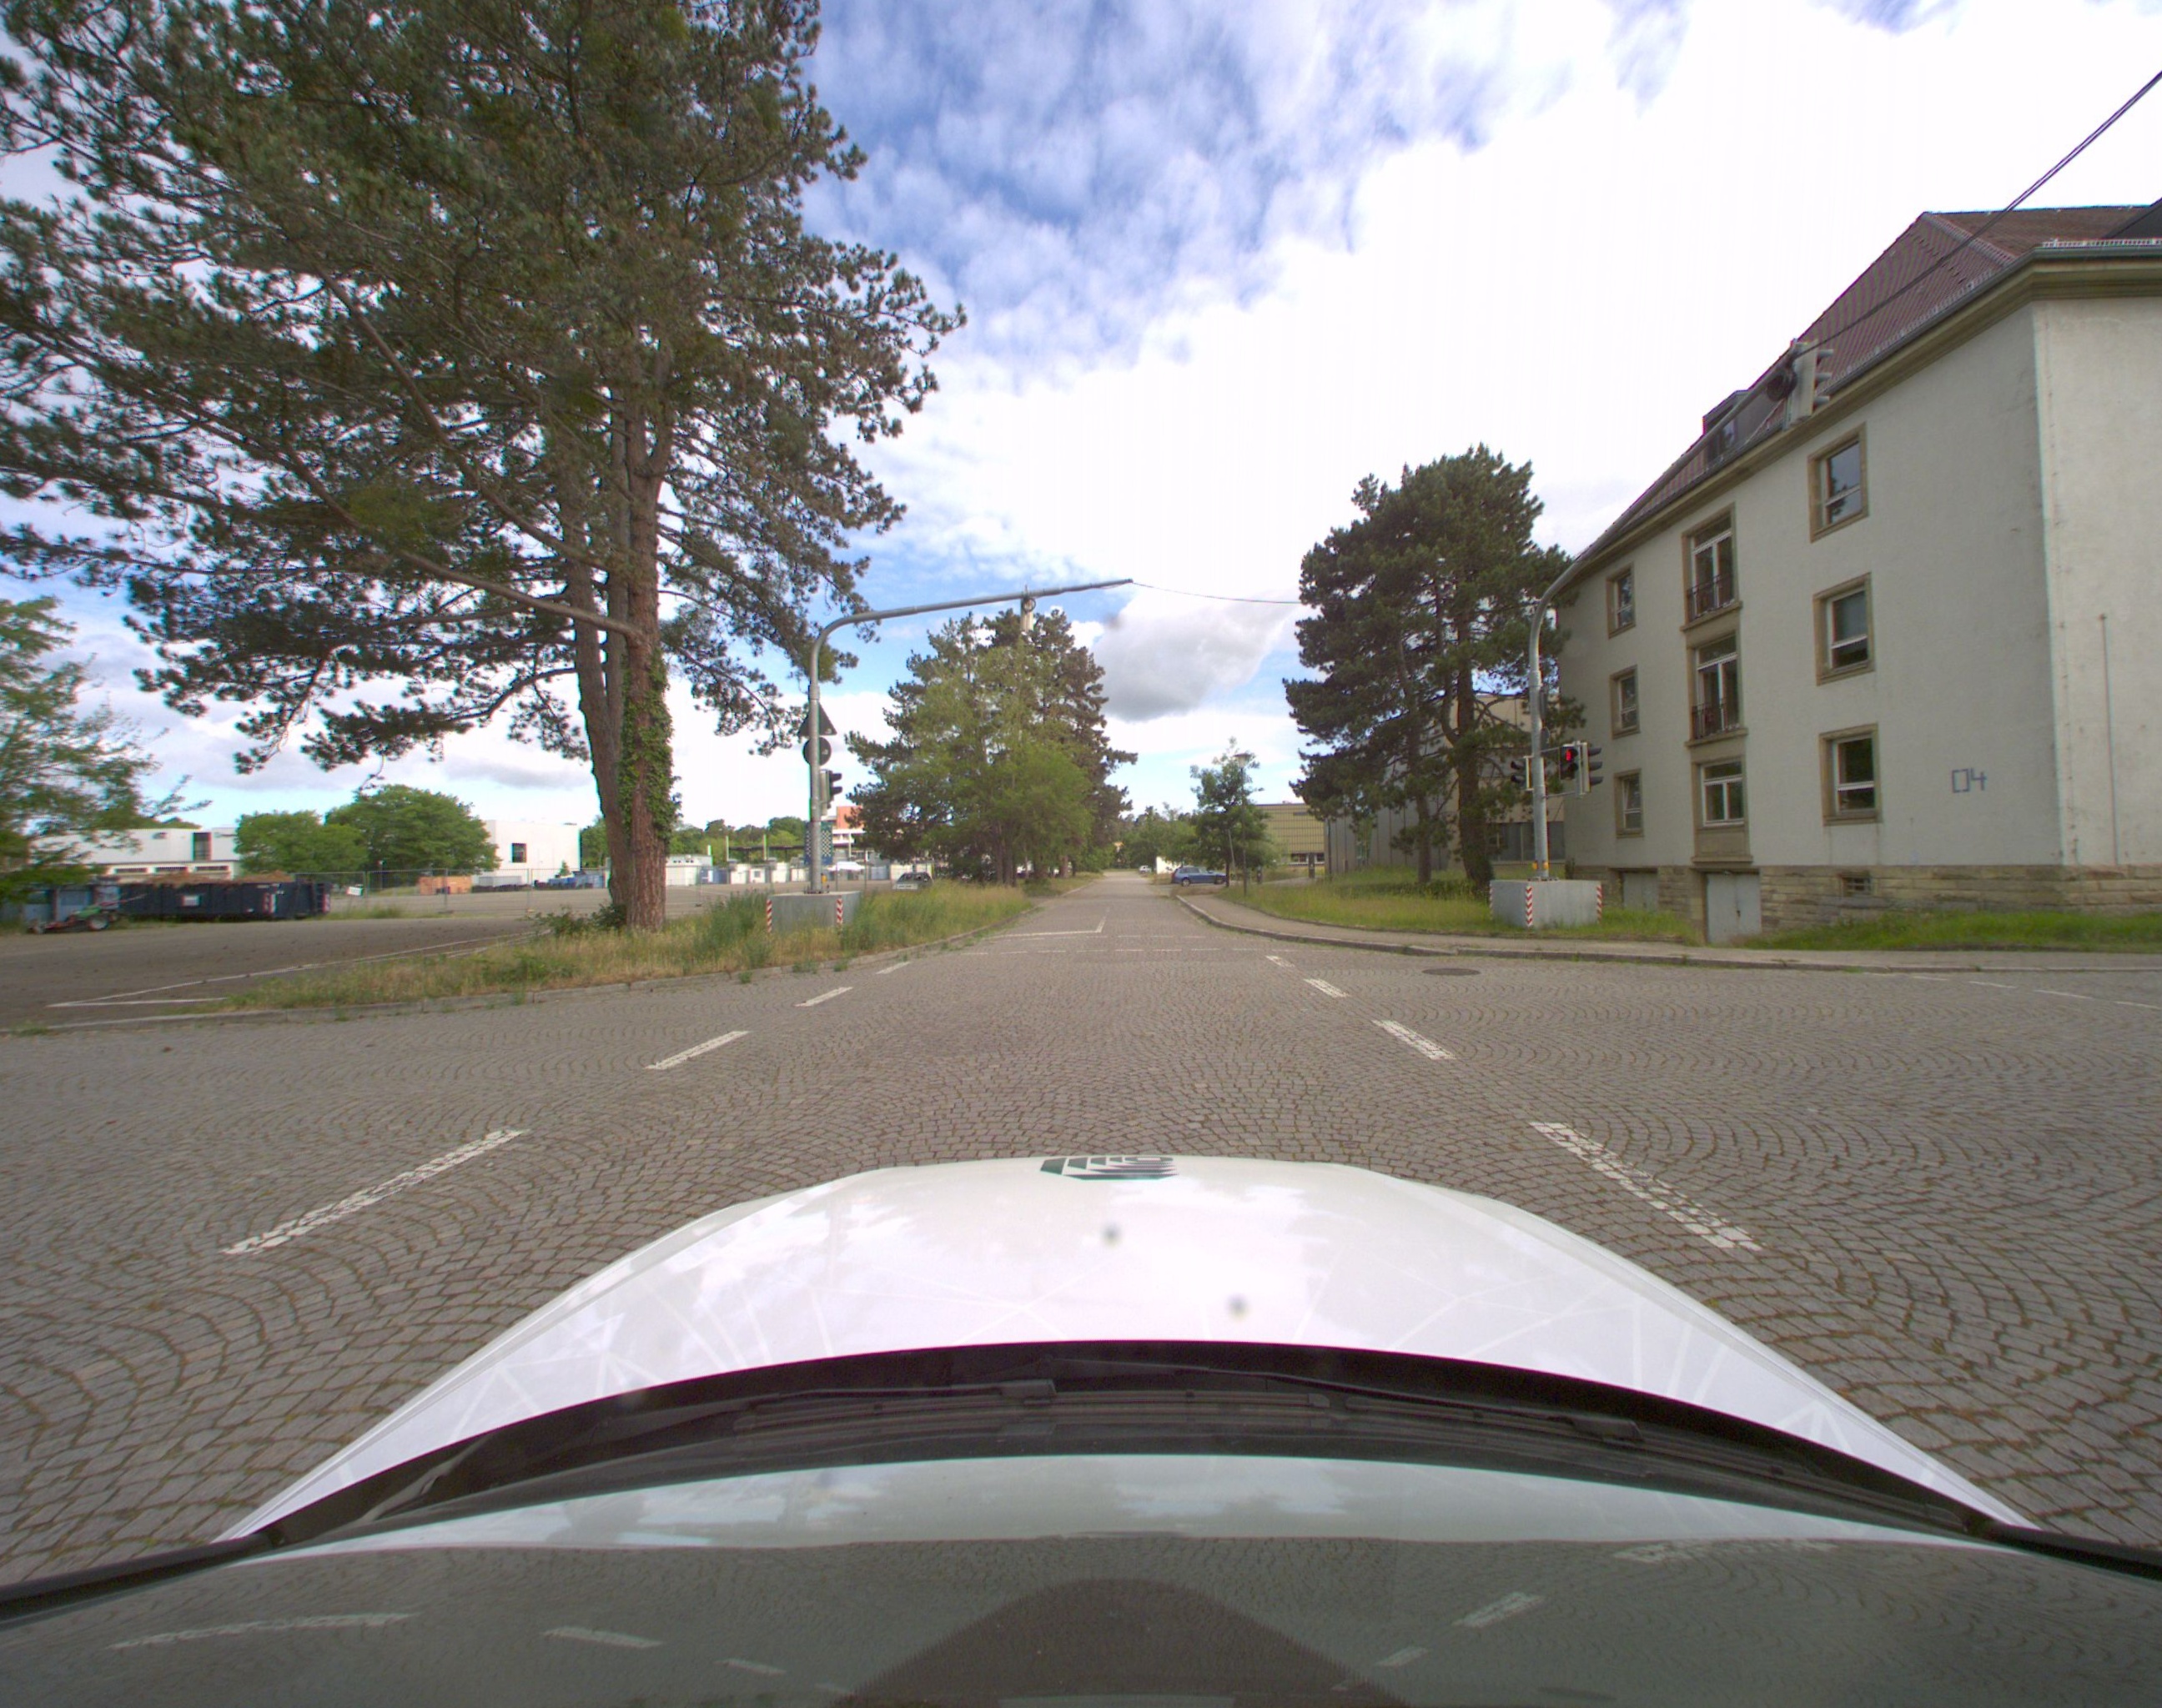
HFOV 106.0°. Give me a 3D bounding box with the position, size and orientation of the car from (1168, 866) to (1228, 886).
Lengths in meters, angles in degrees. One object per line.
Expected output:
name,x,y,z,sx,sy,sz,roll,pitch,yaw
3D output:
car,9.056,1.682,63.198,4.329,1.422,2.000,-1,-1,0

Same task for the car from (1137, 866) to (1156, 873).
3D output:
car,14.540,3.433,180.208,3.978,1.398,1.998,-1,-1,-3

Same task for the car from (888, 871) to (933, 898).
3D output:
car,-10.243,1.810,49.162,1.606,1.487,4.003,-1,-1,3

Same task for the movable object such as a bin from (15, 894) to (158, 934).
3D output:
movable object such as a bin,-30.403,1.812,24.993,1.174,1.048,2.656,-2,-1,-2
